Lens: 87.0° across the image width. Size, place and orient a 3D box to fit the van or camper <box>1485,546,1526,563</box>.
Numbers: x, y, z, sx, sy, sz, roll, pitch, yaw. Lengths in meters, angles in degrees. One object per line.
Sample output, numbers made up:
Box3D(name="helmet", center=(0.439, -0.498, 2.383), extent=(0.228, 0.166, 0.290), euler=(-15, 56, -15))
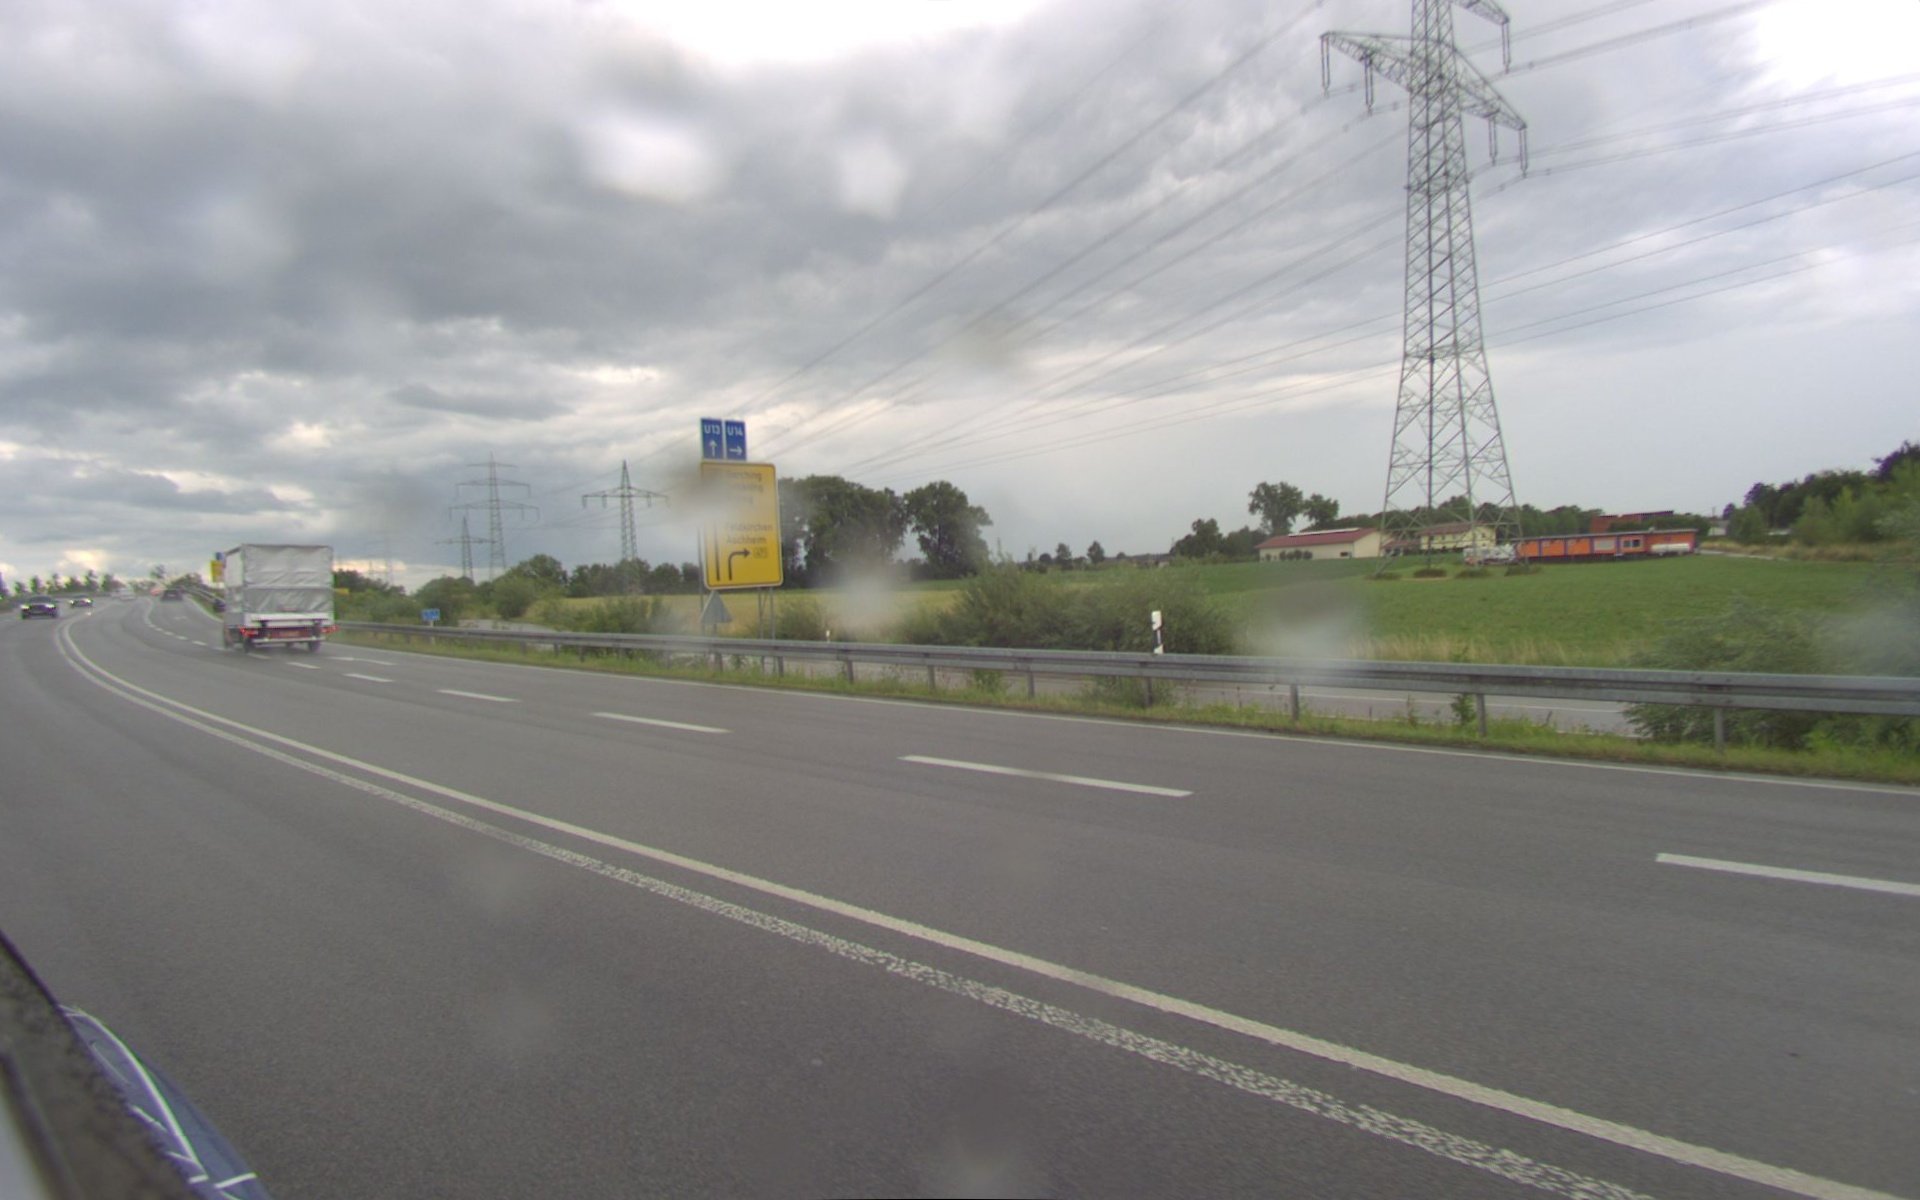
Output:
Box3D(name="van or camper", center=(90.466, -7.546, 167.958), extent=(5.705, 2.651, 2.302), euler=(-1, 4, 35))

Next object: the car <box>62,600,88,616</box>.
Box3D(name="car", center=(-91.047, 0.847, 104.145), extent=(1.721, 1.508, 4.059), euler=(-3, 0, -37))

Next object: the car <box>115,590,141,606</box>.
Box3D(name="car", center=(-96.980, -0.261, 117.983), extent=(1.766, 1.678, 4.382), euler=(-4, 2, -34))

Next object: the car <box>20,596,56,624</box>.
Box3D(name="car", center=(-65.184, 0.734, 71.528), extent=(1.770, 1.782, 4.004), euler=(-3, 0, -43))

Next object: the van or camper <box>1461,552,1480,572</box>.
Box3D(name="van or camper", center=(73.052, -5.450, 144.729), extent=(2.317, 2.651, 5.667), euler=(-2, 4, 27))

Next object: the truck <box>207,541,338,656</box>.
Box3D(name="truck", center=(-22.418, 0.030, 32.828), extent=(2.451, 3.317, 7.288), euler=(1, -1, -43))

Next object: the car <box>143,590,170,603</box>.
Box3D(name="car", center=(-112.994, -0.543, 142.299), extent=(1.916, 1.672, 4.662), euler=(-3, 3, -26))

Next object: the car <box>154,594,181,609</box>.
Box3D(name="car", center=(-83.152, 0.110, 106.272), extent=(1.871, 1.452, 4.913), euler=(-4, 3, -34))
